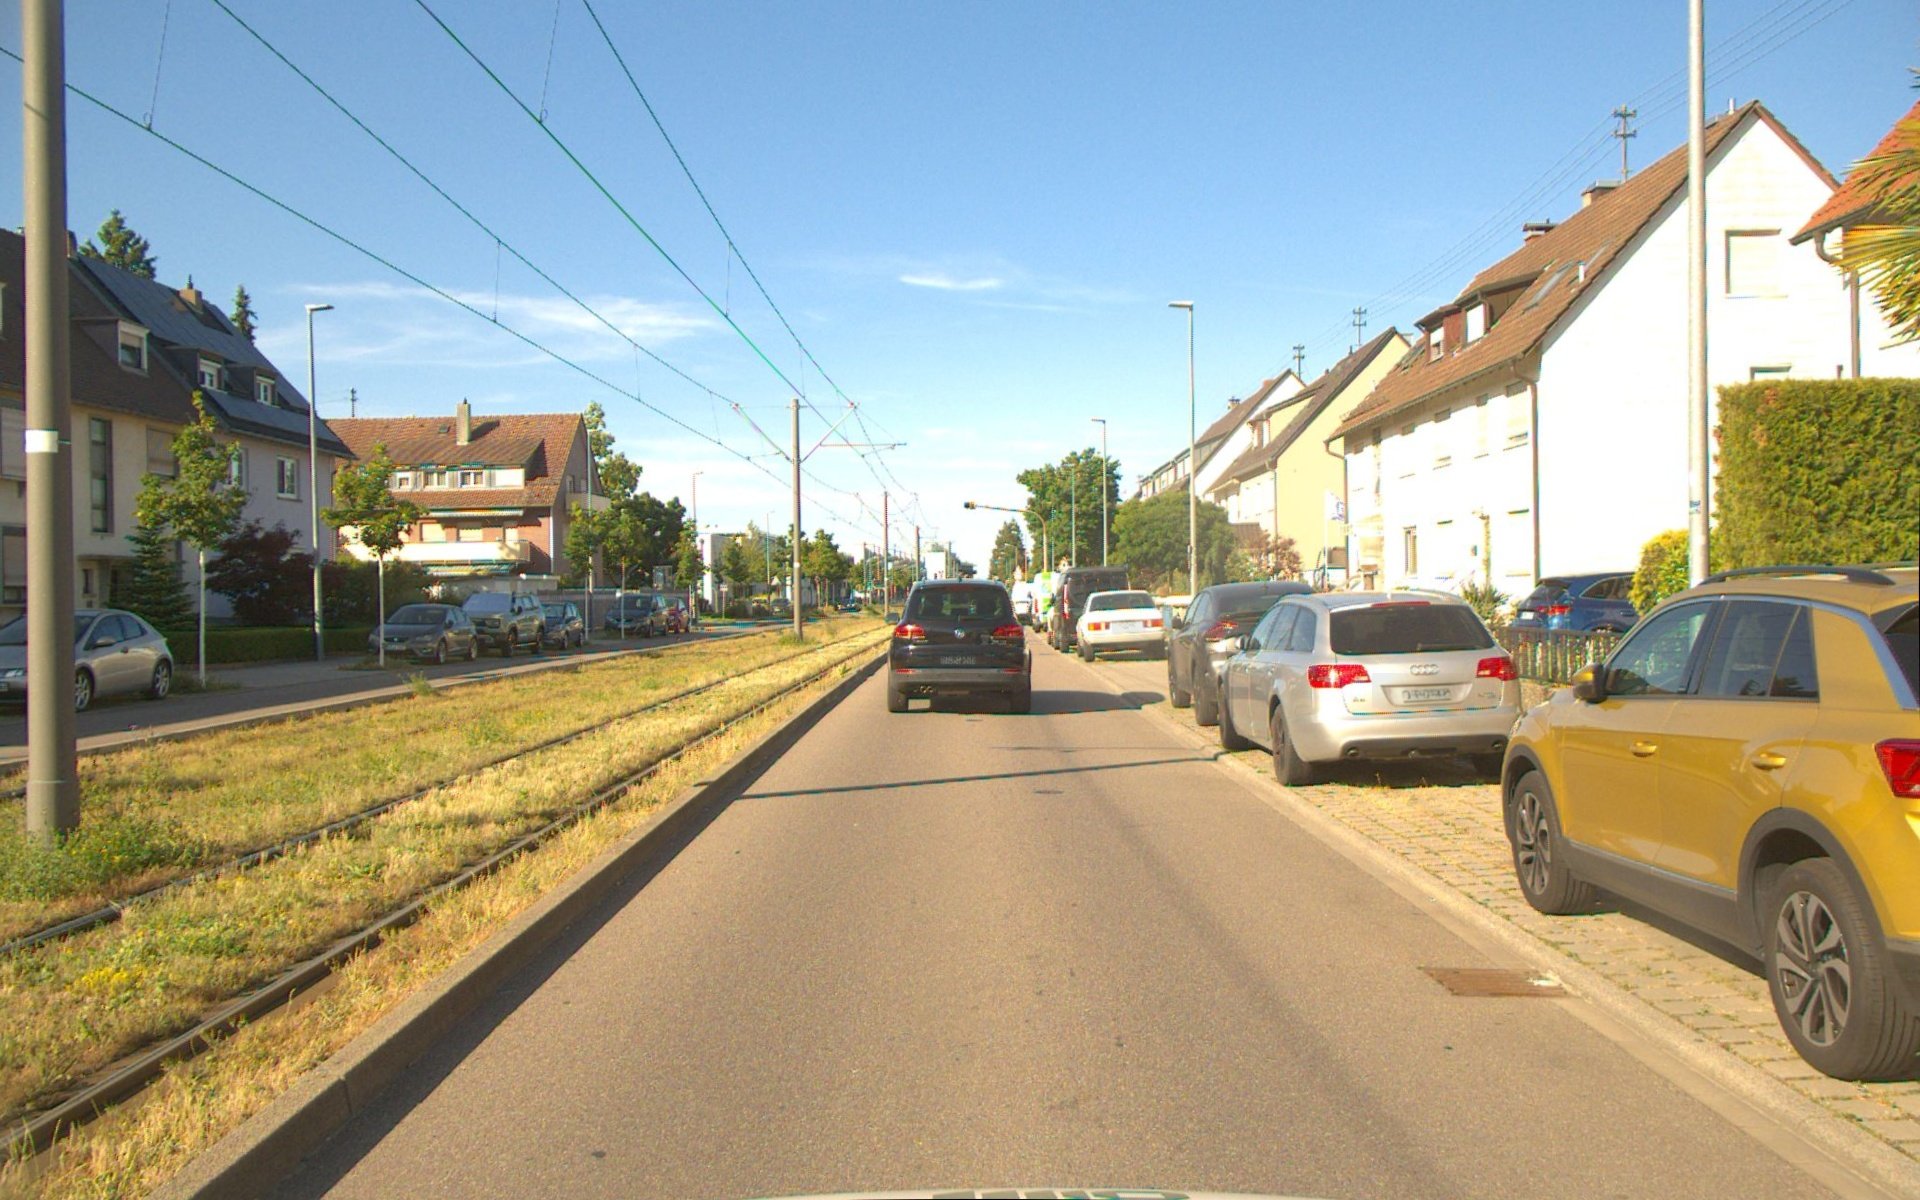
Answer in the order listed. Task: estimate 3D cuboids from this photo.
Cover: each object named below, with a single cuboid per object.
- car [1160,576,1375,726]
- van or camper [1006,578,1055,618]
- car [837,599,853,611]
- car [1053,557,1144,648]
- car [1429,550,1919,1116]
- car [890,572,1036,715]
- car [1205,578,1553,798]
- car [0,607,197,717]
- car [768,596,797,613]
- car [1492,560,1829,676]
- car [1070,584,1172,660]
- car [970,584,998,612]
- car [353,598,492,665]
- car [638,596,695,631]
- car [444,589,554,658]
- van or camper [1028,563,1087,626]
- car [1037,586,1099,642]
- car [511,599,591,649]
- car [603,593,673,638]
[{"bbox_3d":[3.506,0.518,19.696,1.741,1.525,4.729,-1,0,1],"label":"car"},{"bbox_3d":[3.747,-0.108,86.720,1.984,1.990,5.299,-1,0,8],"label":"van or camper"},{"bbox_3d":[-15.001,0.618,215.765,1.653,1.413,4.389,-3,0,2],"label":"car"},{"bbox_3d":[3.564,0.060,43.463,1.919,2.181,5.335,-2,0,0],"label":"car"},{"bbox_3d":[3.543,0.621,6.800,1.768,1.586,4.926,-2,0,0],"label":"car"},{"bbox_3d":[-0.006,0.523,21.849,1.739,1.699,3.999,0,0,-1],"label":"car"},{"bbox_3d":[3.330,0.595,14.114,1.712,1.472,4.698,-2,1,0],"label":"car"},{"bbox_3d":[-13.383,0.870,25.075,1.654,1.501,4.442,0,0,-1],"label":"car"},{"bbox_3d":[-16.316,0.400,152.322,1.772,1.486,4.320,0,0,5],"label":"car"},{"bbox_3d":[10.866,0.269,25.889,4.326,1.684,2.195,-1,0,-3],"label":"car"},{"bbox_3d":[3.500,0.433,36.743,1.814,1.469,5.615,-3,0,2],"label":"car"},{"bbox_3d":[1.621,-0.127,113.871,1.595,1.860,4.128,-1,0,-4],"label":"car"},{"bbox_3d":[-13.305,0.748,41.251,1.920,1.567,4.557,0,0,0],"label":"car"},{"bbox_3d":[-12.778,0.569,72.282,1.660,1.429,4.079,-1,0,1],"label":"car"},{"bbox_3d":[-13.107,0.621,47.299,1.709,1.855,4.842,1,0,1],"label":"car"},{"bbox_3d":[3.833,-0.204,65.920,1.952,2.310,6.305,-2,0,1],"label":"van or camper"},{"bbox_3d":[3.415,0.425,53.123,1.690,1.674,4.319,-2,0,0],"label":"car"},{"bbox_3d":[-13.140,0.750,53.327,1.642,1.517,4.049,1,0,-2],"label":"car"},{"bbox_3d":[-12.871,0.587,66.363,1.782,1.714,4.847,1,0,1],"label":"car"}]
